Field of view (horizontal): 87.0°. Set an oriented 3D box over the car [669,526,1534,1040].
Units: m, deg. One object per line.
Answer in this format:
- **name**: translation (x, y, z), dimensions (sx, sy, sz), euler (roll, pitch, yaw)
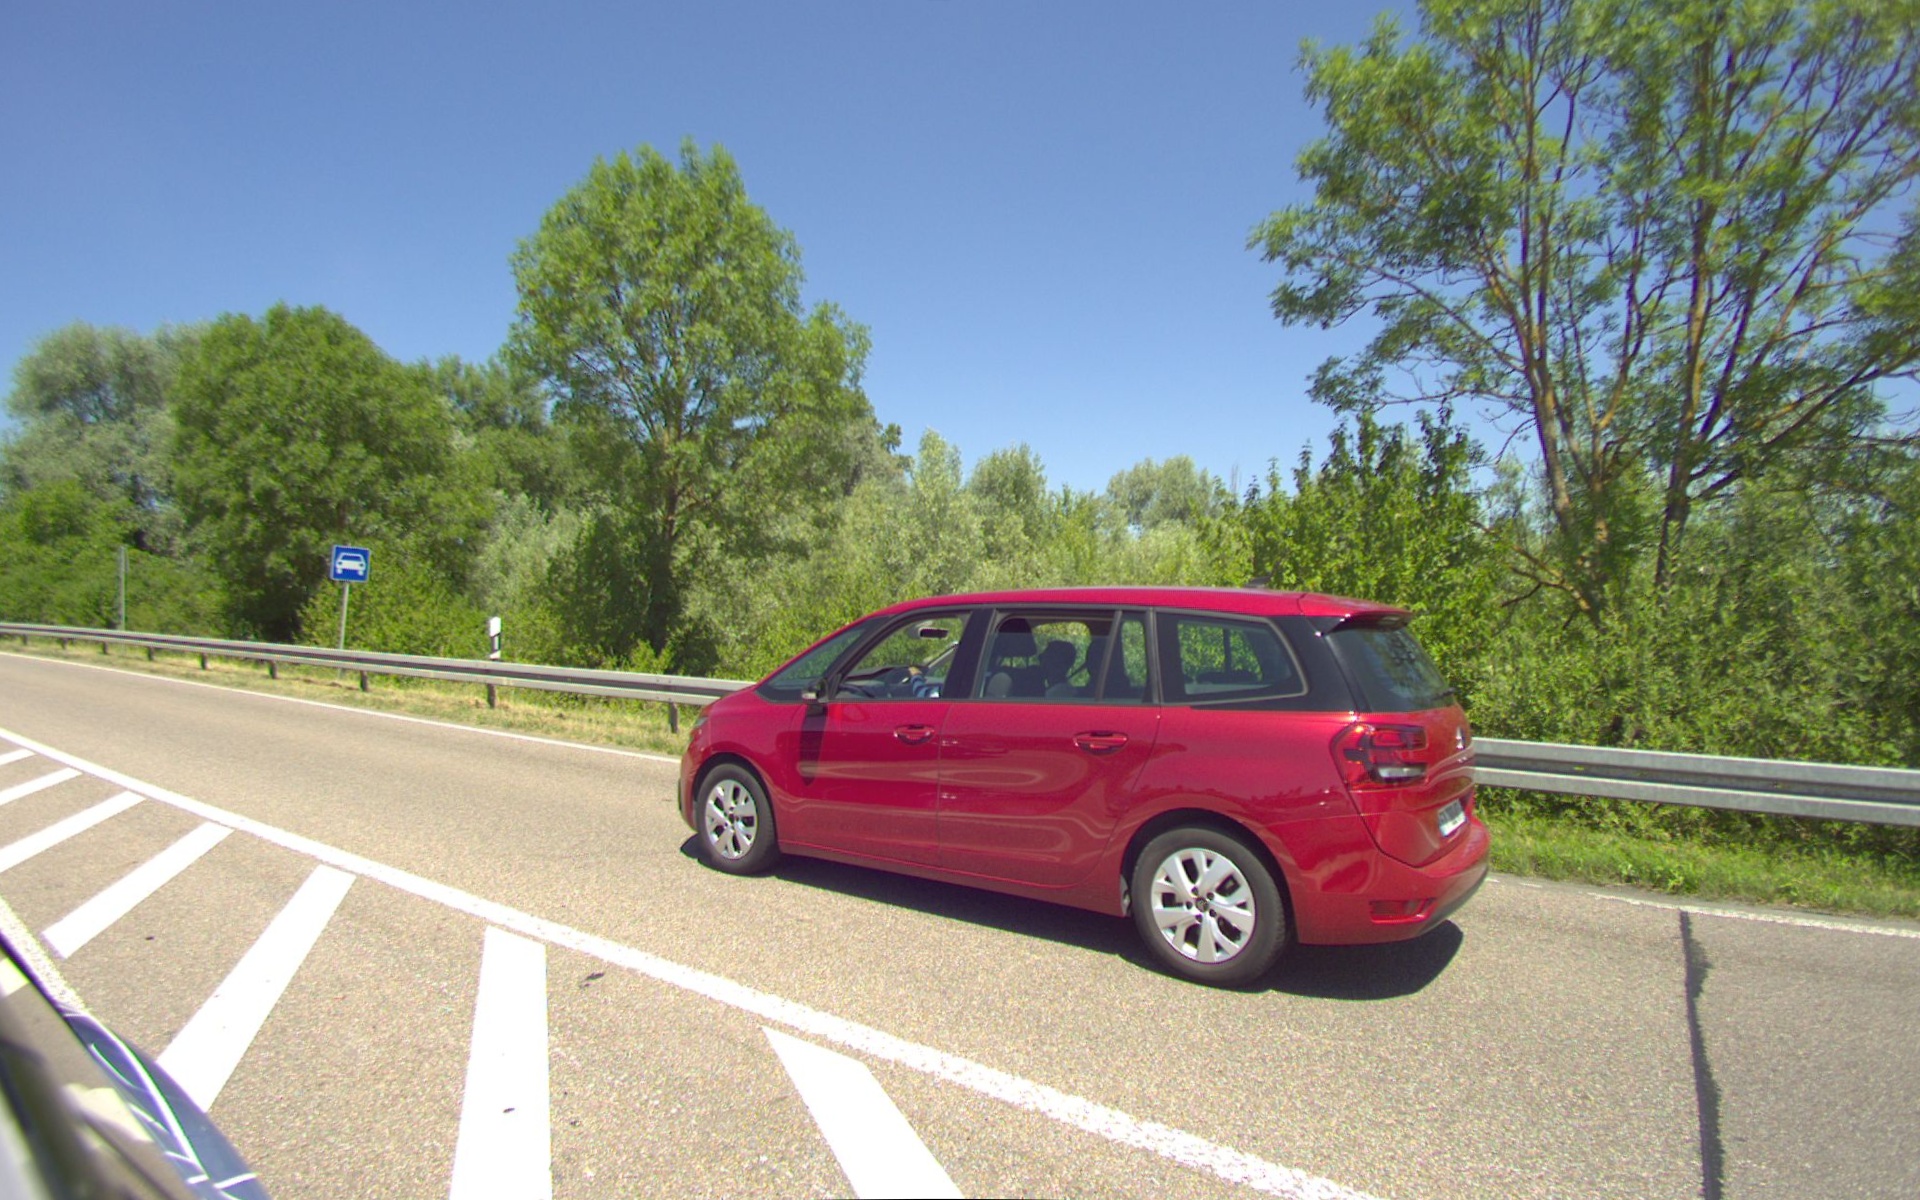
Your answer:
- **car**: translation (0.508, 0.642, 5.323), dimensions (4.202, 1.698, 1.720), euler (0, -2, 37)
